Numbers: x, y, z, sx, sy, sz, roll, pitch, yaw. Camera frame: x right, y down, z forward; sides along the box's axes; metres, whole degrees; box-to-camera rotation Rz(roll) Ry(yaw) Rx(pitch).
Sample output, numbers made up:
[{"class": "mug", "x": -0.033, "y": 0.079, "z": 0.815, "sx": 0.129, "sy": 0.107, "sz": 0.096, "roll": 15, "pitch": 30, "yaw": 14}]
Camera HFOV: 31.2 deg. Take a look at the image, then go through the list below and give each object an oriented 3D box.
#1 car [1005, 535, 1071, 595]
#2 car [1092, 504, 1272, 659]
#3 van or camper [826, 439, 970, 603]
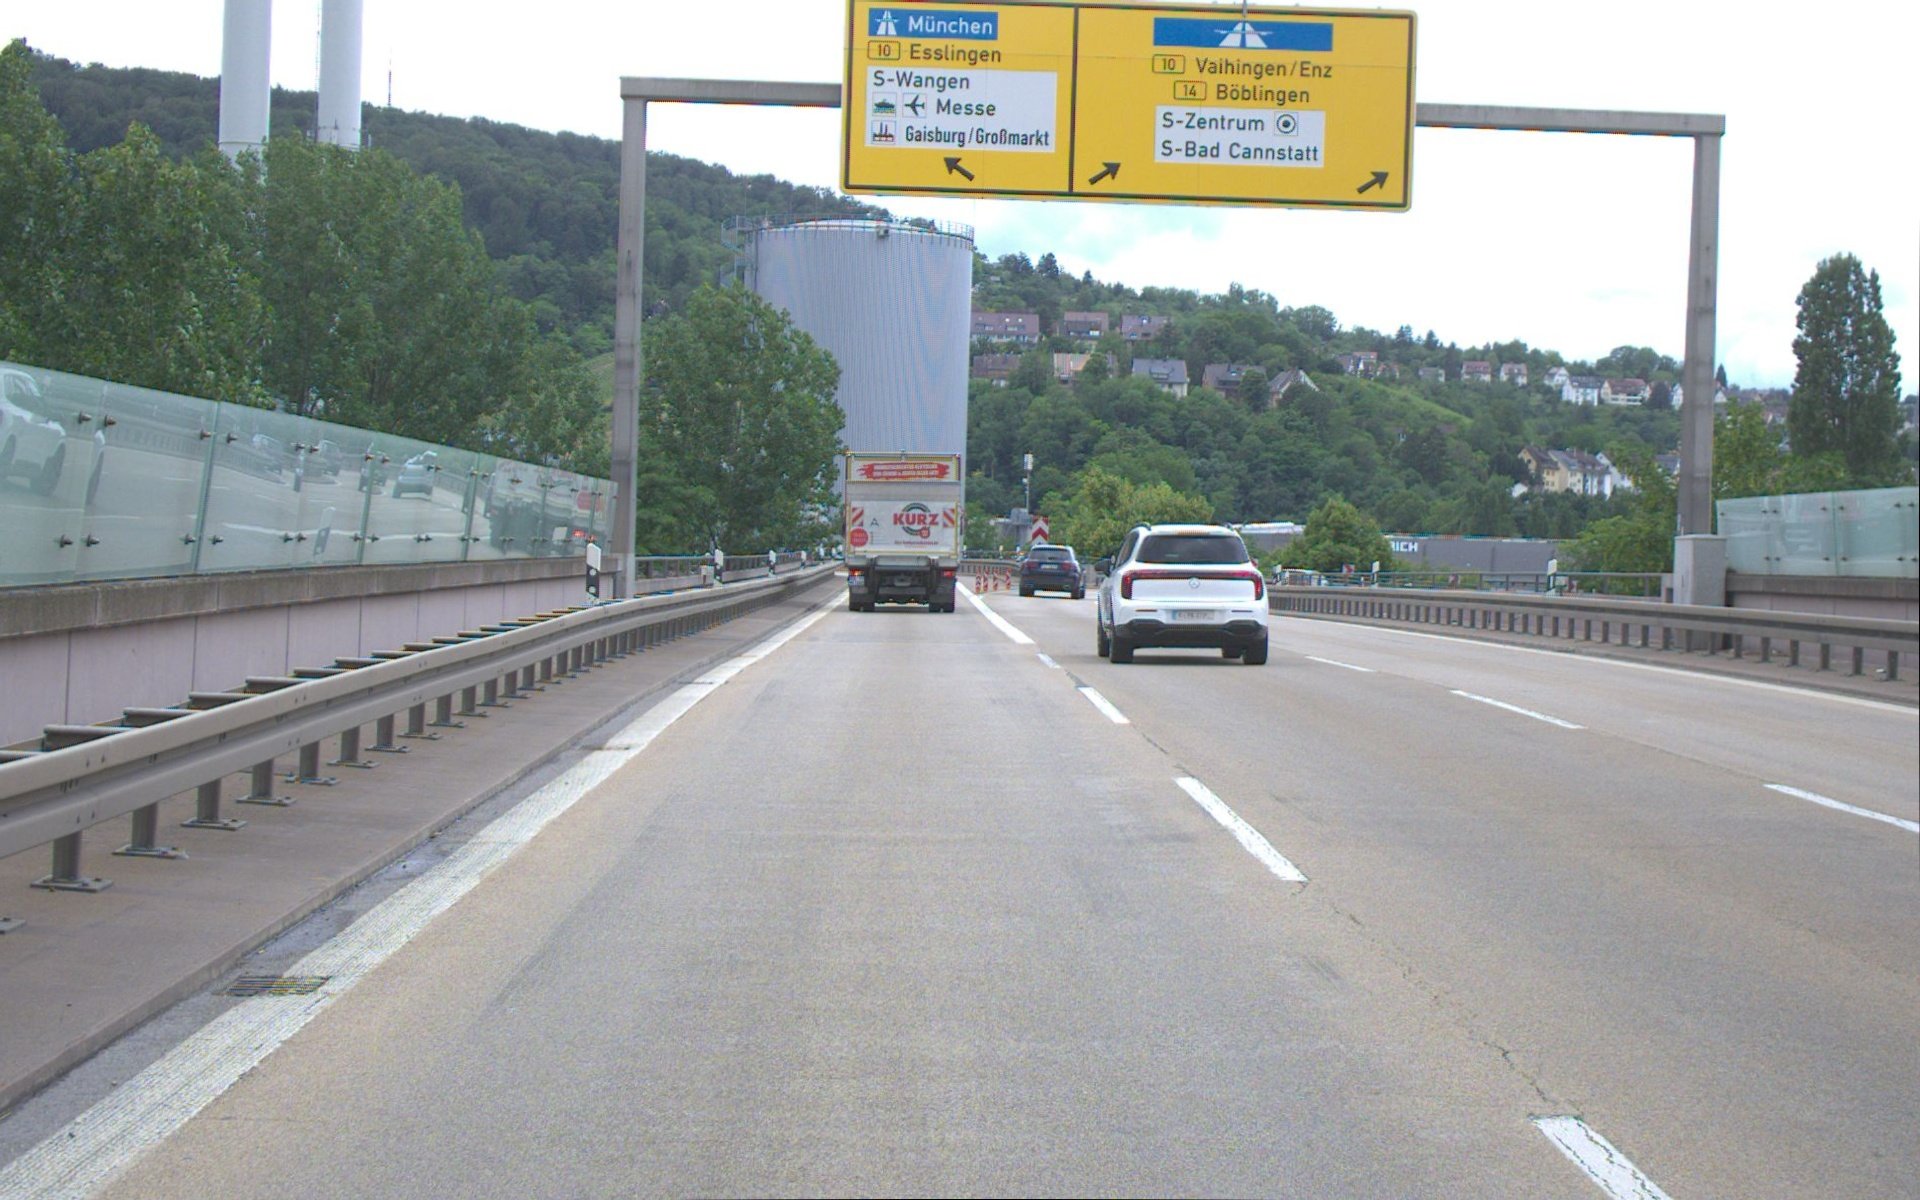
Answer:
[{"class": "car", "x": 2.407, "y": -1.112, "z": 107.095, "sx": 1.924, "sy": 1.779, "sz": 4.113, "roll": 1, "pitch": 1, "yaw": 0}, {"class": "car", "x": 2.659, "y": -0.262, "z": 41.984, "sx": 1.924, "sy": 1.779, "sz": 4.113, "roll": 1, "pitch": 1, "yaw": 0}, {"class": "van or camper", "x": -1.350, "y": -1.792, "z": 79.541, "sx": 3.122, "sy": 3.567, "sz": 8.550, "roll": 0, "pitch": 1, "yaw": 0}]
